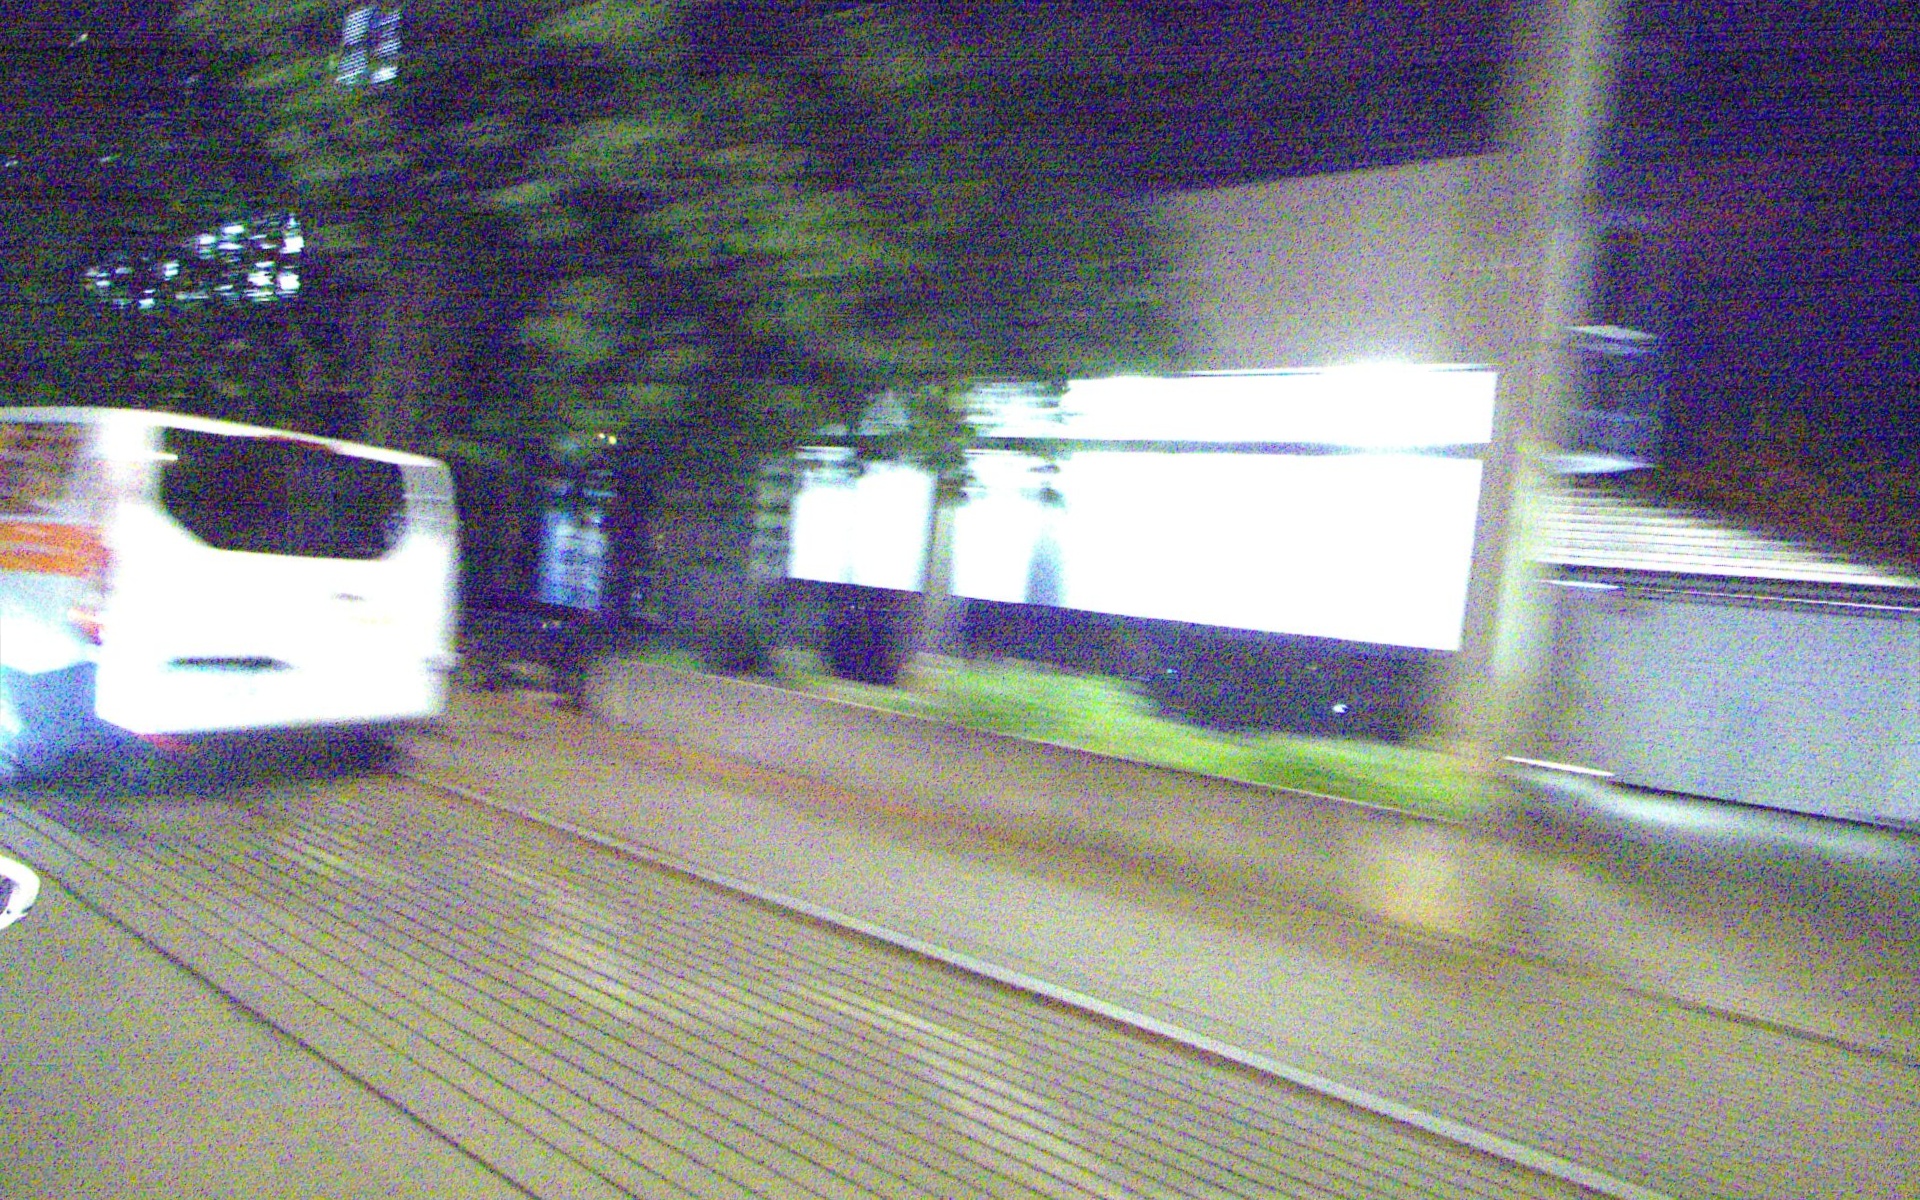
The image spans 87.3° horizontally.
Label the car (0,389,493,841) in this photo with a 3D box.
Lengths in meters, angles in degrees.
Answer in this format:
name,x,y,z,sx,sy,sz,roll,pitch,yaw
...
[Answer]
name,x,y,z,sx,sy,sz,roll,pitch,yaw
car,-5.335,-0.117,6.387,4.526,1.989,1.952,7,1,30
